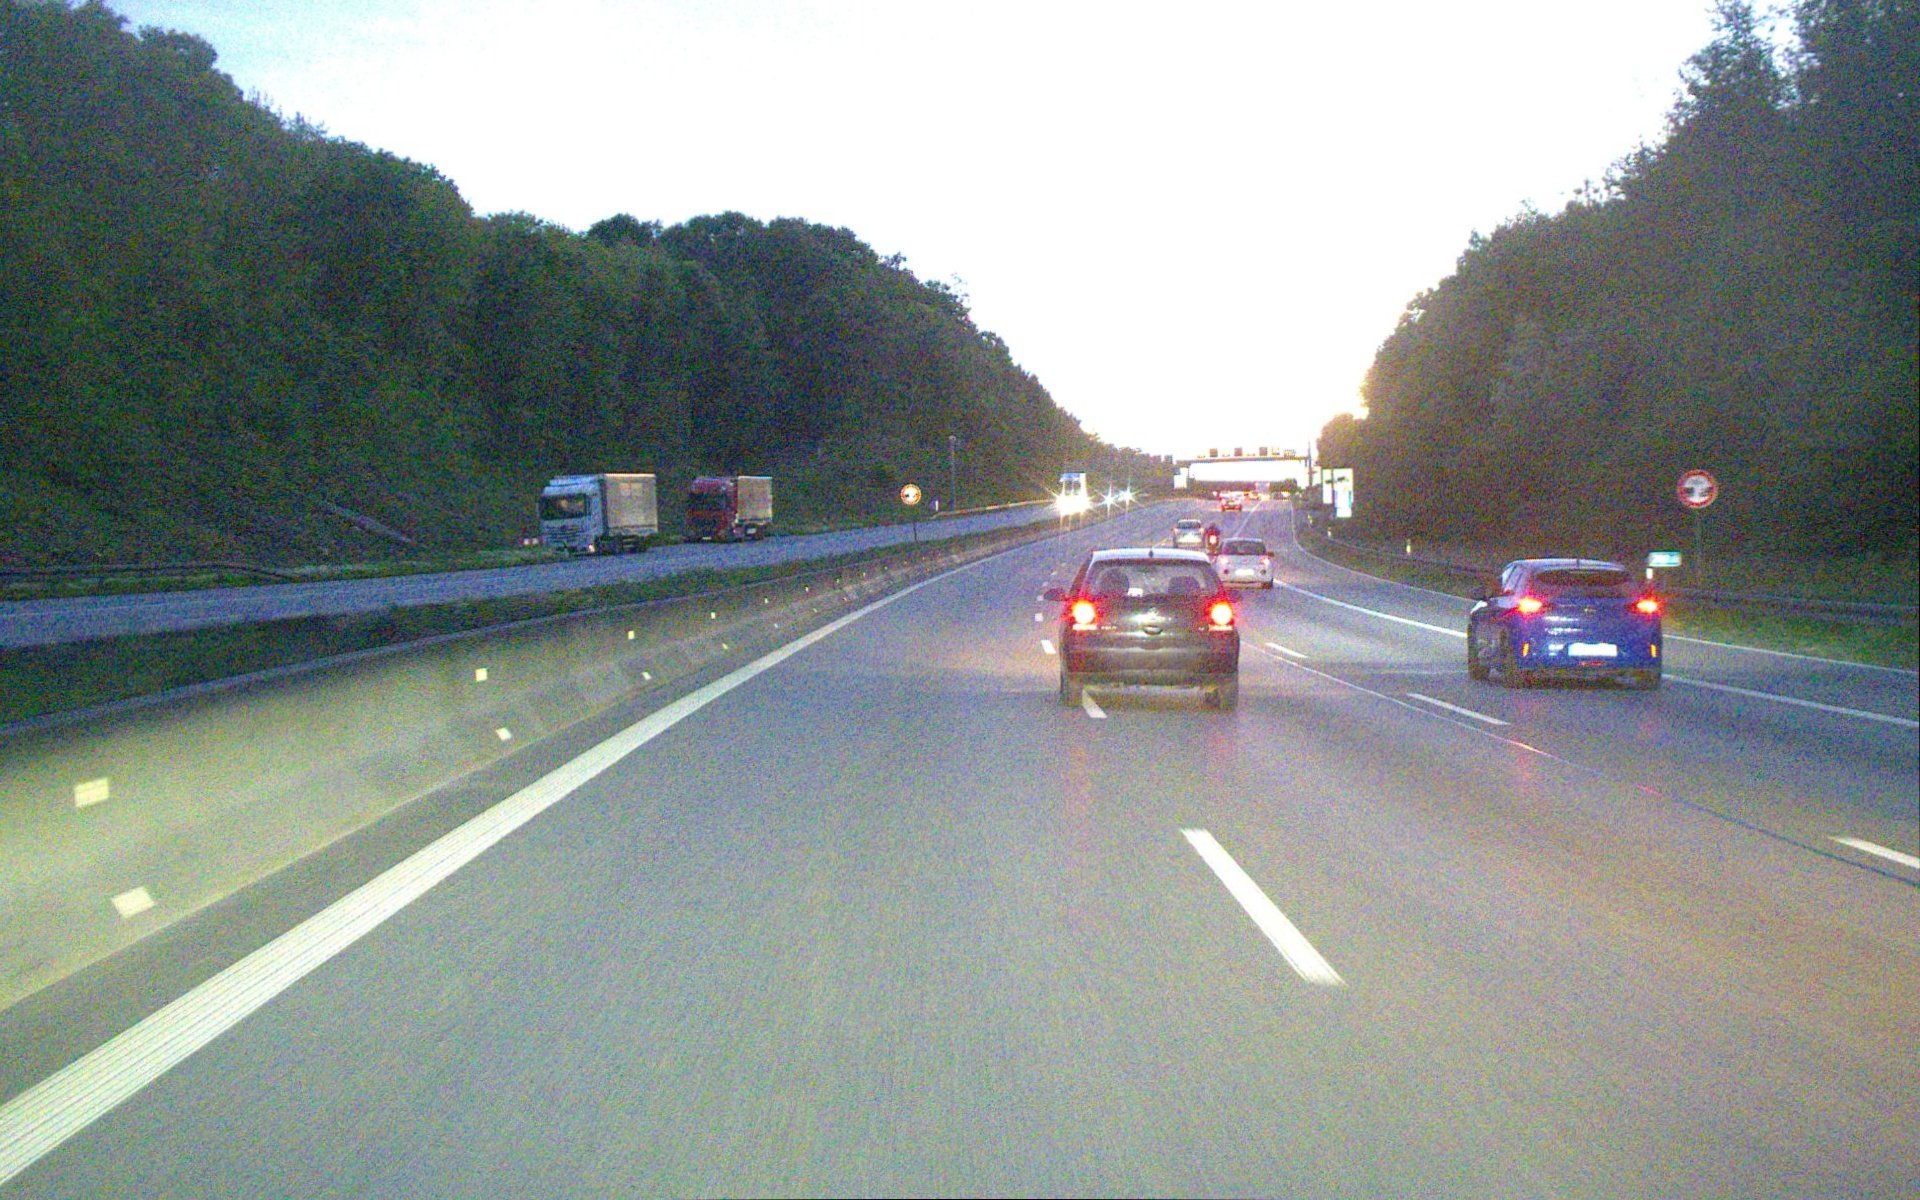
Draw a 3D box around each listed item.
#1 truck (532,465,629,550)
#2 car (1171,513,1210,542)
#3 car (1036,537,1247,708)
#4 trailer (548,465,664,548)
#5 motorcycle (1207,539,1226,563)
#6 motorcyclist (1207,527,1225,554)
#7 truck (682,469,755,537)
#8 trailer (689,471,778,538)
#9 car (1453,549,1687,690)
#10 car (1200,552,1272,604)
[{"bbox_3d":[-18.786,-4.591,170.781,3.192,4.090,7.688,0,1,6],"label":"truck"},{"bbox_3d":[12.295,-3.853,183.324,1.865,1.489,4.399,1,1,1],"label":"car"},{"bbox_3d":[1.670,0.169,32.832,1.704,1.504,4.232,1,1,-1],"label":"car"},{"bbox_3d":[-18.131,-4.794,177.119,3.191,4.090,13.738,0,1,6],"label":"trailer"},{"bbox_3d":[12.173,-2.320,163.184,0.830,1.130,2.475,-1,1,5],"label":"motorcycle"},{"bbox_3d":[12.164,-2.828,163.106,0.830,1.287,1.190,-1,1,5],"label":"motorcyclist"},{"bbox_3d":[-14.812,-5.945,211.470,3.192,4.090,7.688,0,1,6],"label":"truck"},{"bbox_3d":[-14.205,-6.023,217.038,3.192,4.090,14.181,0,1,6],"label":"trailer"},{"bbox_3d":[6.851,0.174,39.052,1.865,1.431,4.584,1,2,1],"label":"car"},{"bbox_3d":[8.061,-0.659,100.839,1.825,1.470,4.399,1,1,1],"label":"car"}]
